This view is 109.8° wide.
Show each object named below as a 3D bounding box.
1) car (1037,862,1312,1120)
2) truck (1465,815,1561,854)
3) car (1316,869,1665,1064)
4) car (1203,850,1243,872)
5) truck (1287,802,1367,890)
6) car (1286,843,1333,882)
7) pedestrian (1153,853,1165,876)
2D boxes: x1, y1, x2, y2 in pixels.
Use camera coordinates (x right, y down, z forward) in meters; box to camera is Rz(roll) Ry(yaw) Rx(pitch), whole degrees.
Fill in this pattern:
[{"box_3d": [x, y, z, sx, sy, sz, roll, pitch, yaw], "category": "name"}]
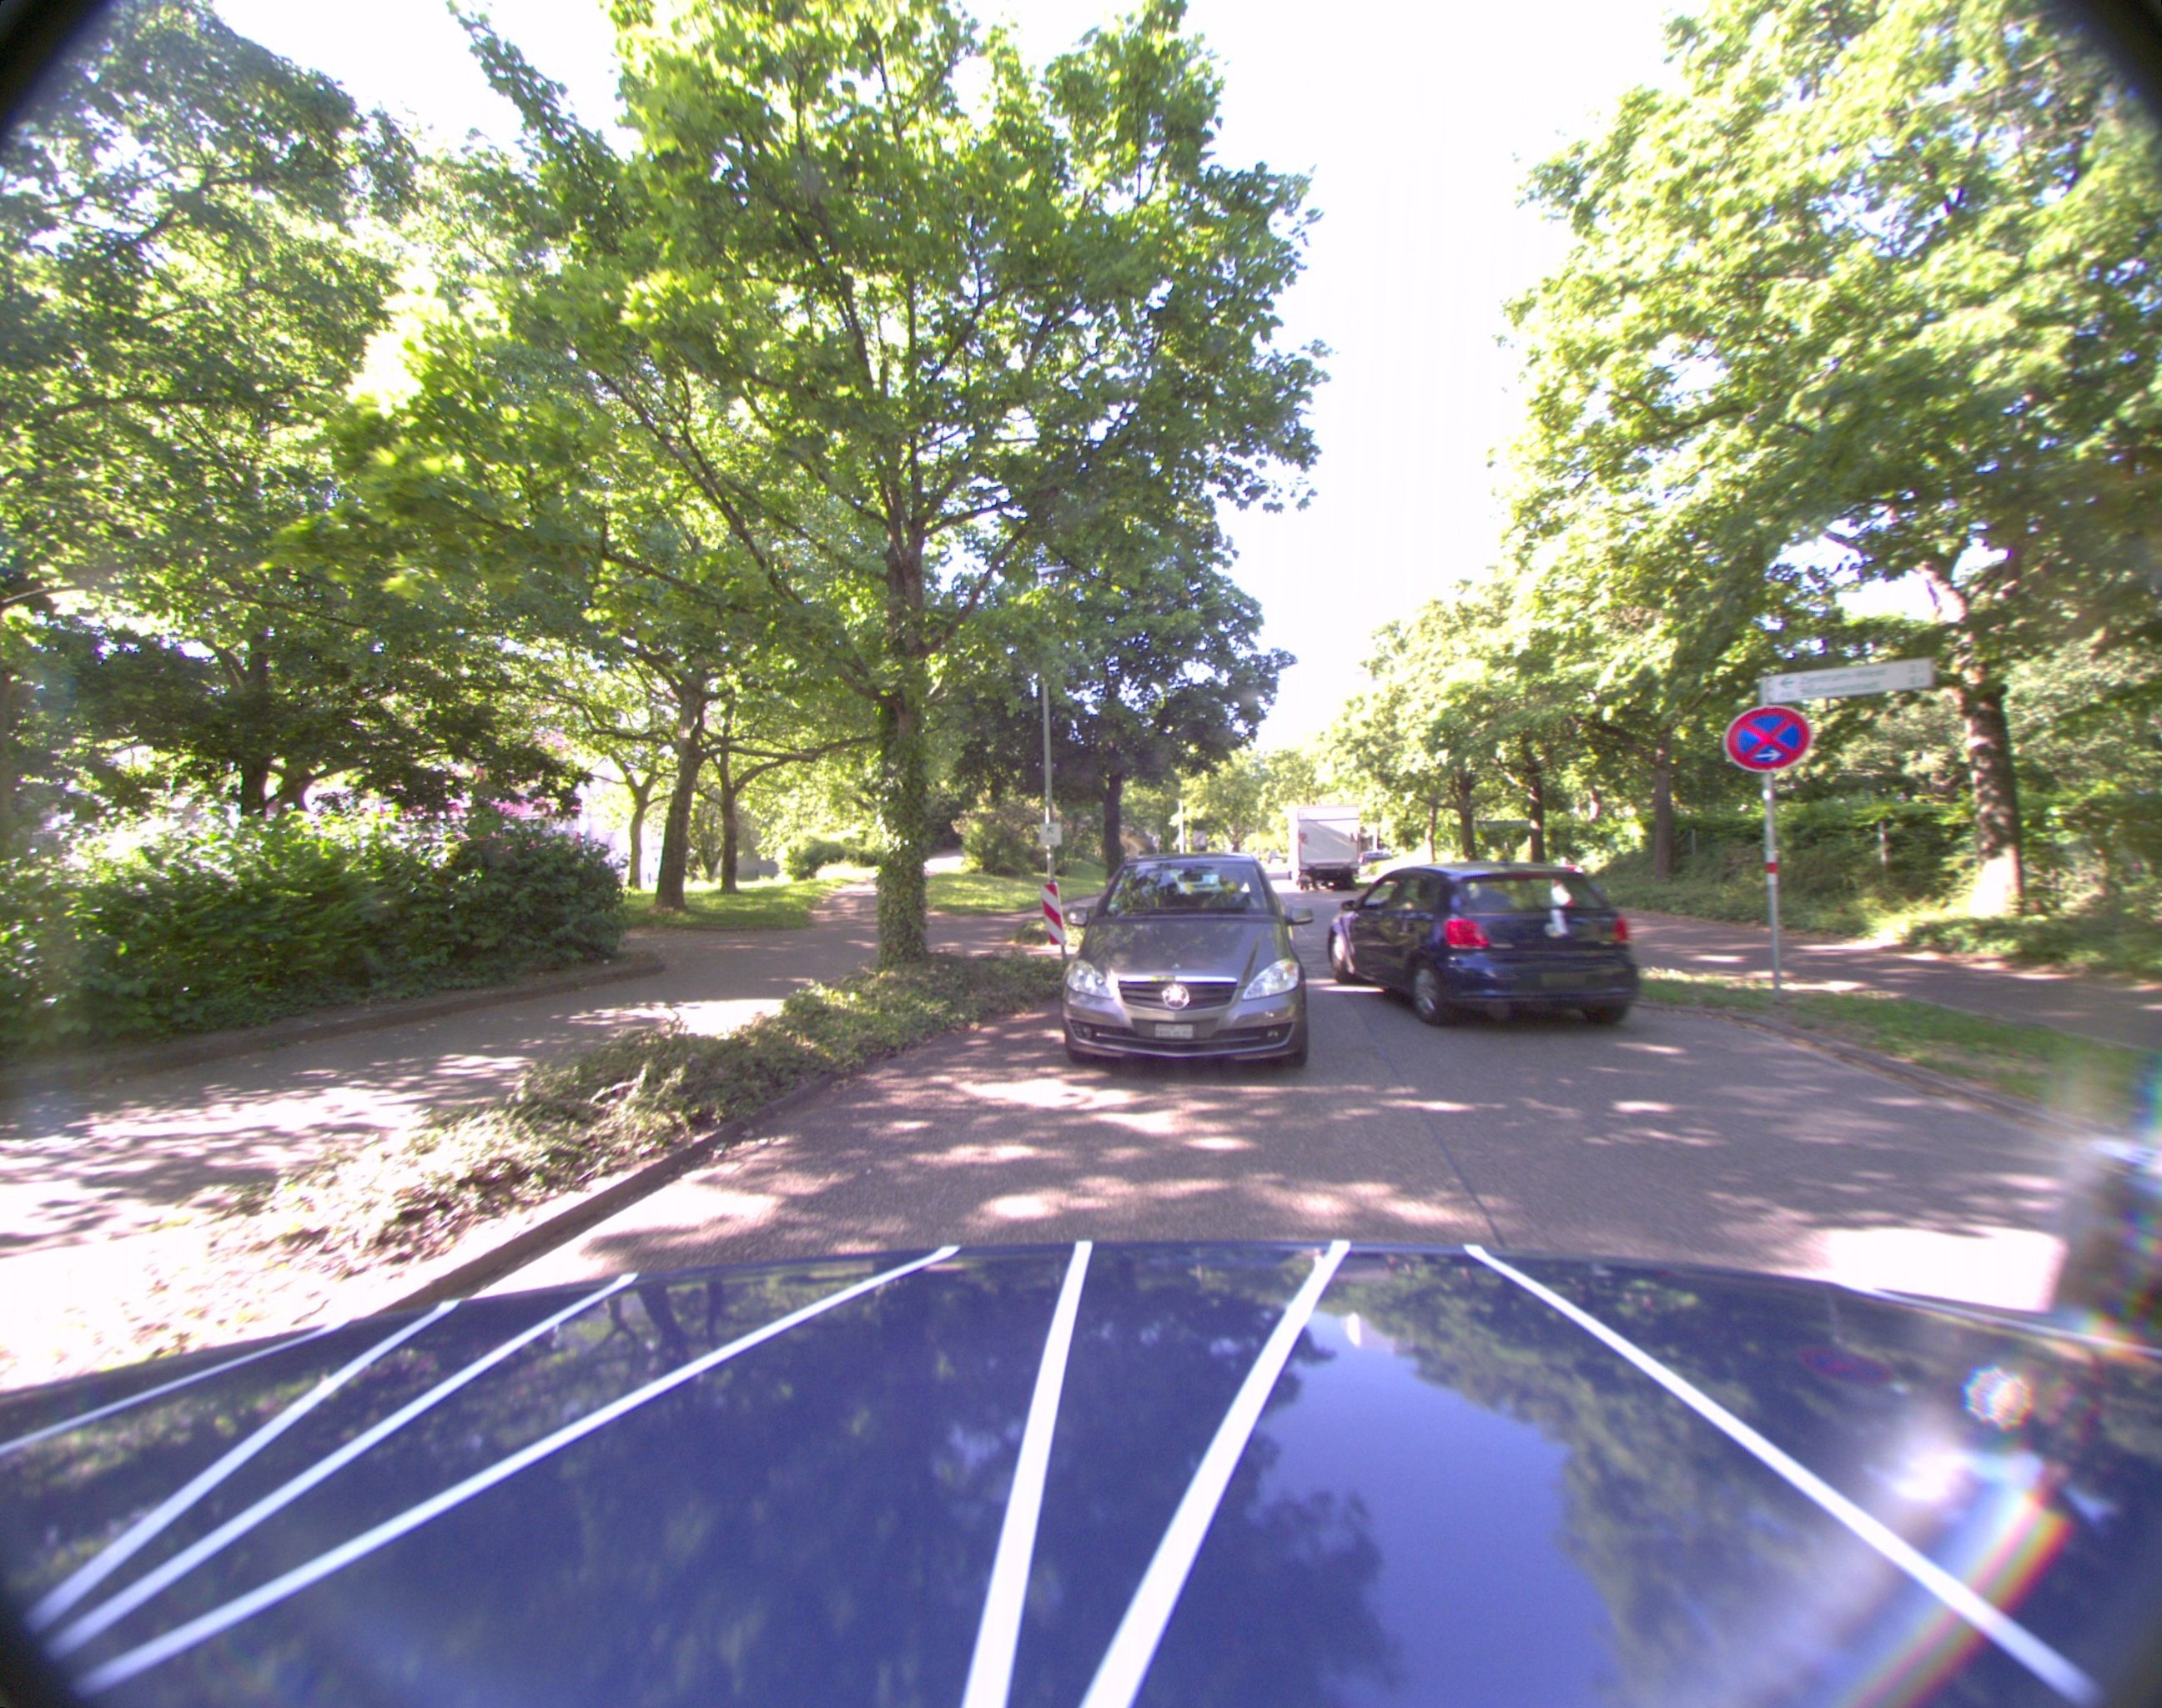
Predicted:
[{"box_3d": [0.968, 0.915, 6.912, 1.732, 1.578, 4.003, -2, 0, 11], "category": "car"}, {"box_3d": [23.147, -0.997, 40.836, 3.993, 2.002, 2.206, 0, 0, 11], "category": "truck"}, {"box_3d": [3.701, 0.898, 7.653, 1.605, 1.418, 3.652, 0, 0, 1], "category": "car"}, {"box_3d": [13.918, 0.699, 74.786, 2.002, 2.002, 3.994, -4, 0, -22], "category": "car"}, {"box_3d": [11.425, -0.335, 35.985, 2.739, 3.620, 8.108, -2, 0, 13], "category": "truck"}, {"box_3d": [13.603, 0.464, 45.593, 2.123, 2.083, 6.590, -2, 0, 12], "category": "car"}, {"box_3d": [6.158, 0.830, 59.943, 0.792, 1.821, 0.672, -2, 0, 13], "category": "pedestrian"}]
